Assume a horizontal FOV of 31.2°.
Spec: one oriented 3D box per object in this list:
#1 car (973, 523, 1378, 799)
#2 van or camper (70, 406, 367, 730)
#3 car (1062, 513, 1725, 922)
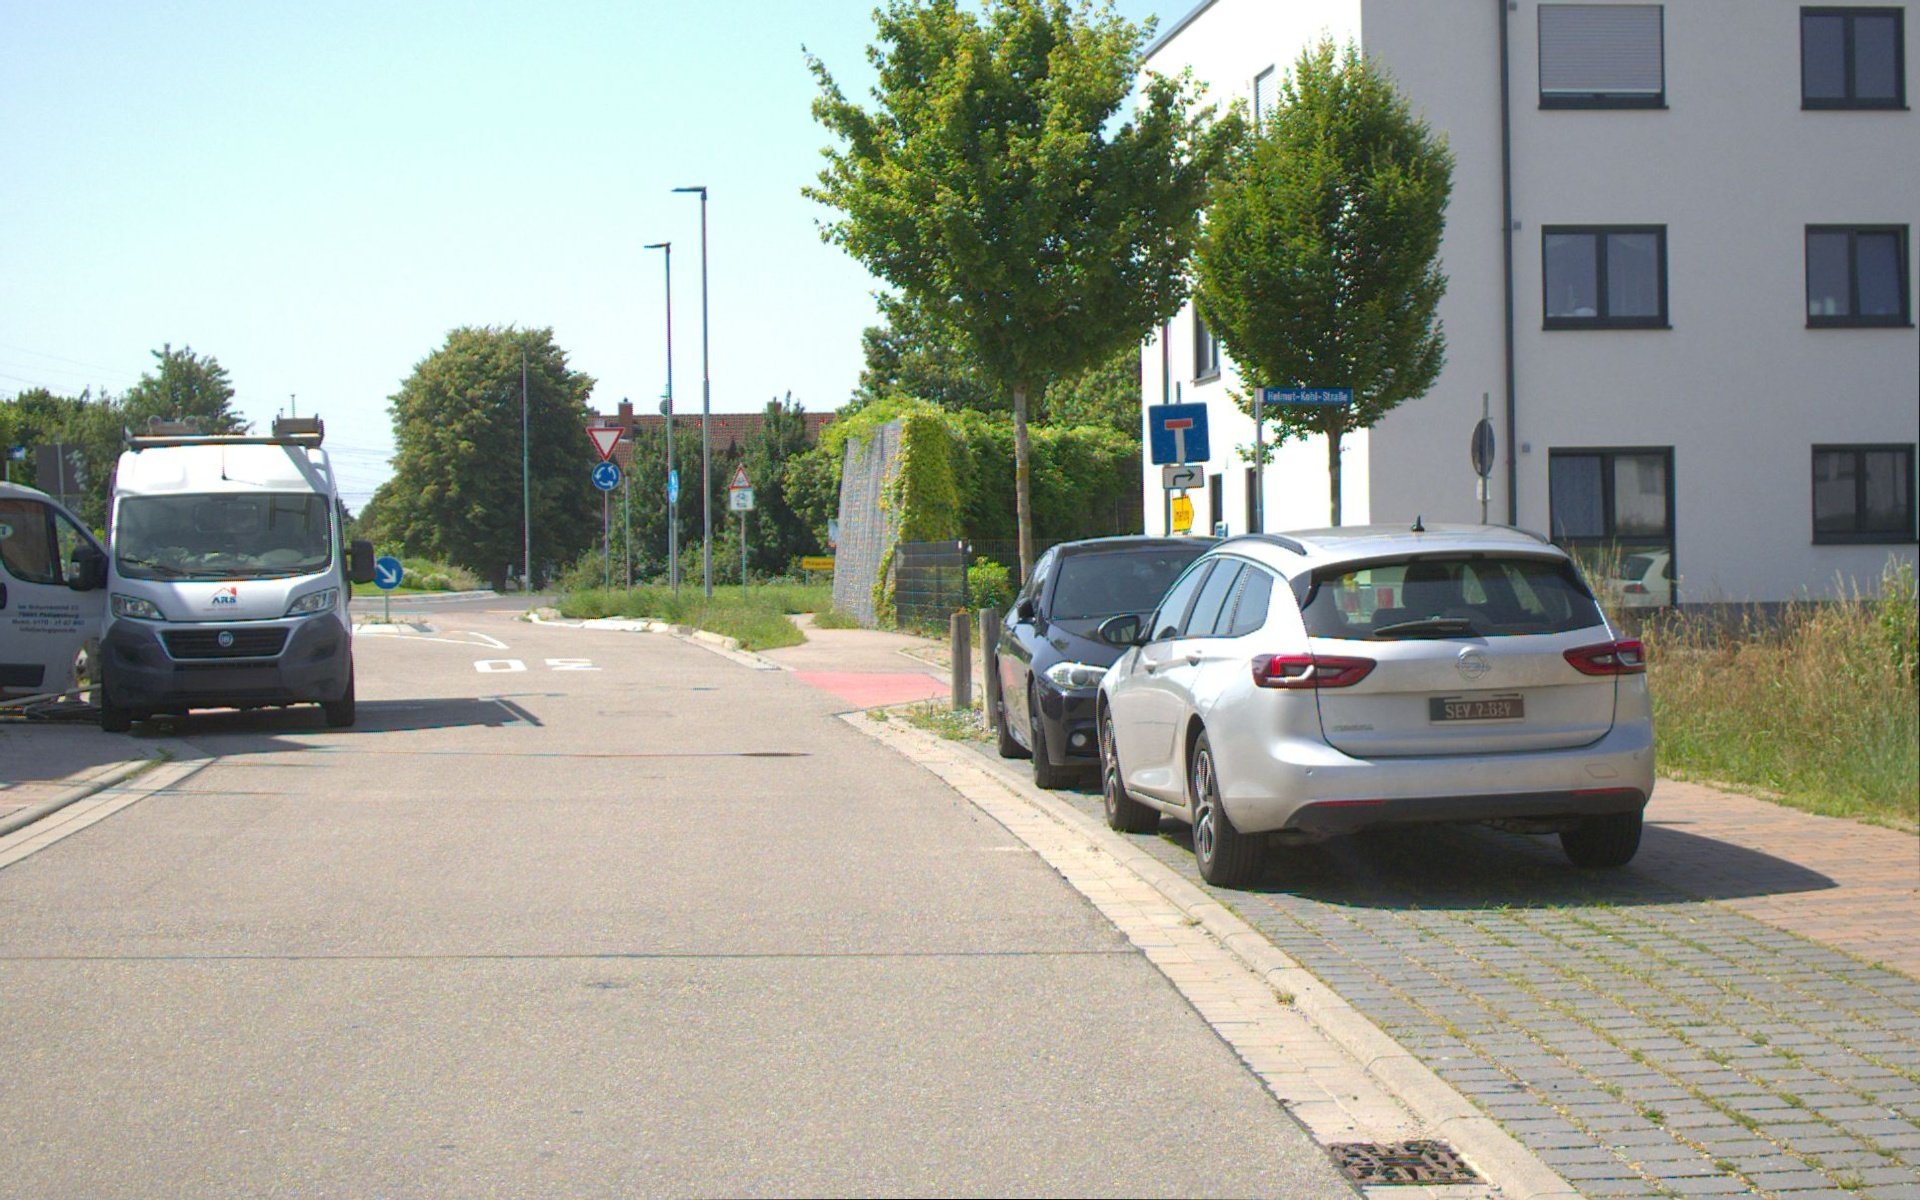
[{"bbox_3d":[1.232,0.285,22.003,1.918,1.464,5.141,-2,2,-3],"label":"car"},{"bbox_3d":[-6.521,-0.275,30.520,2.272,2.544,6.369,-1,0,-11],"label":"van or camper"},{"bbox_3d":[1.769,0.384,15.956,1.918,1.506,5.296,-2,2,-5],"label":"car"}]
